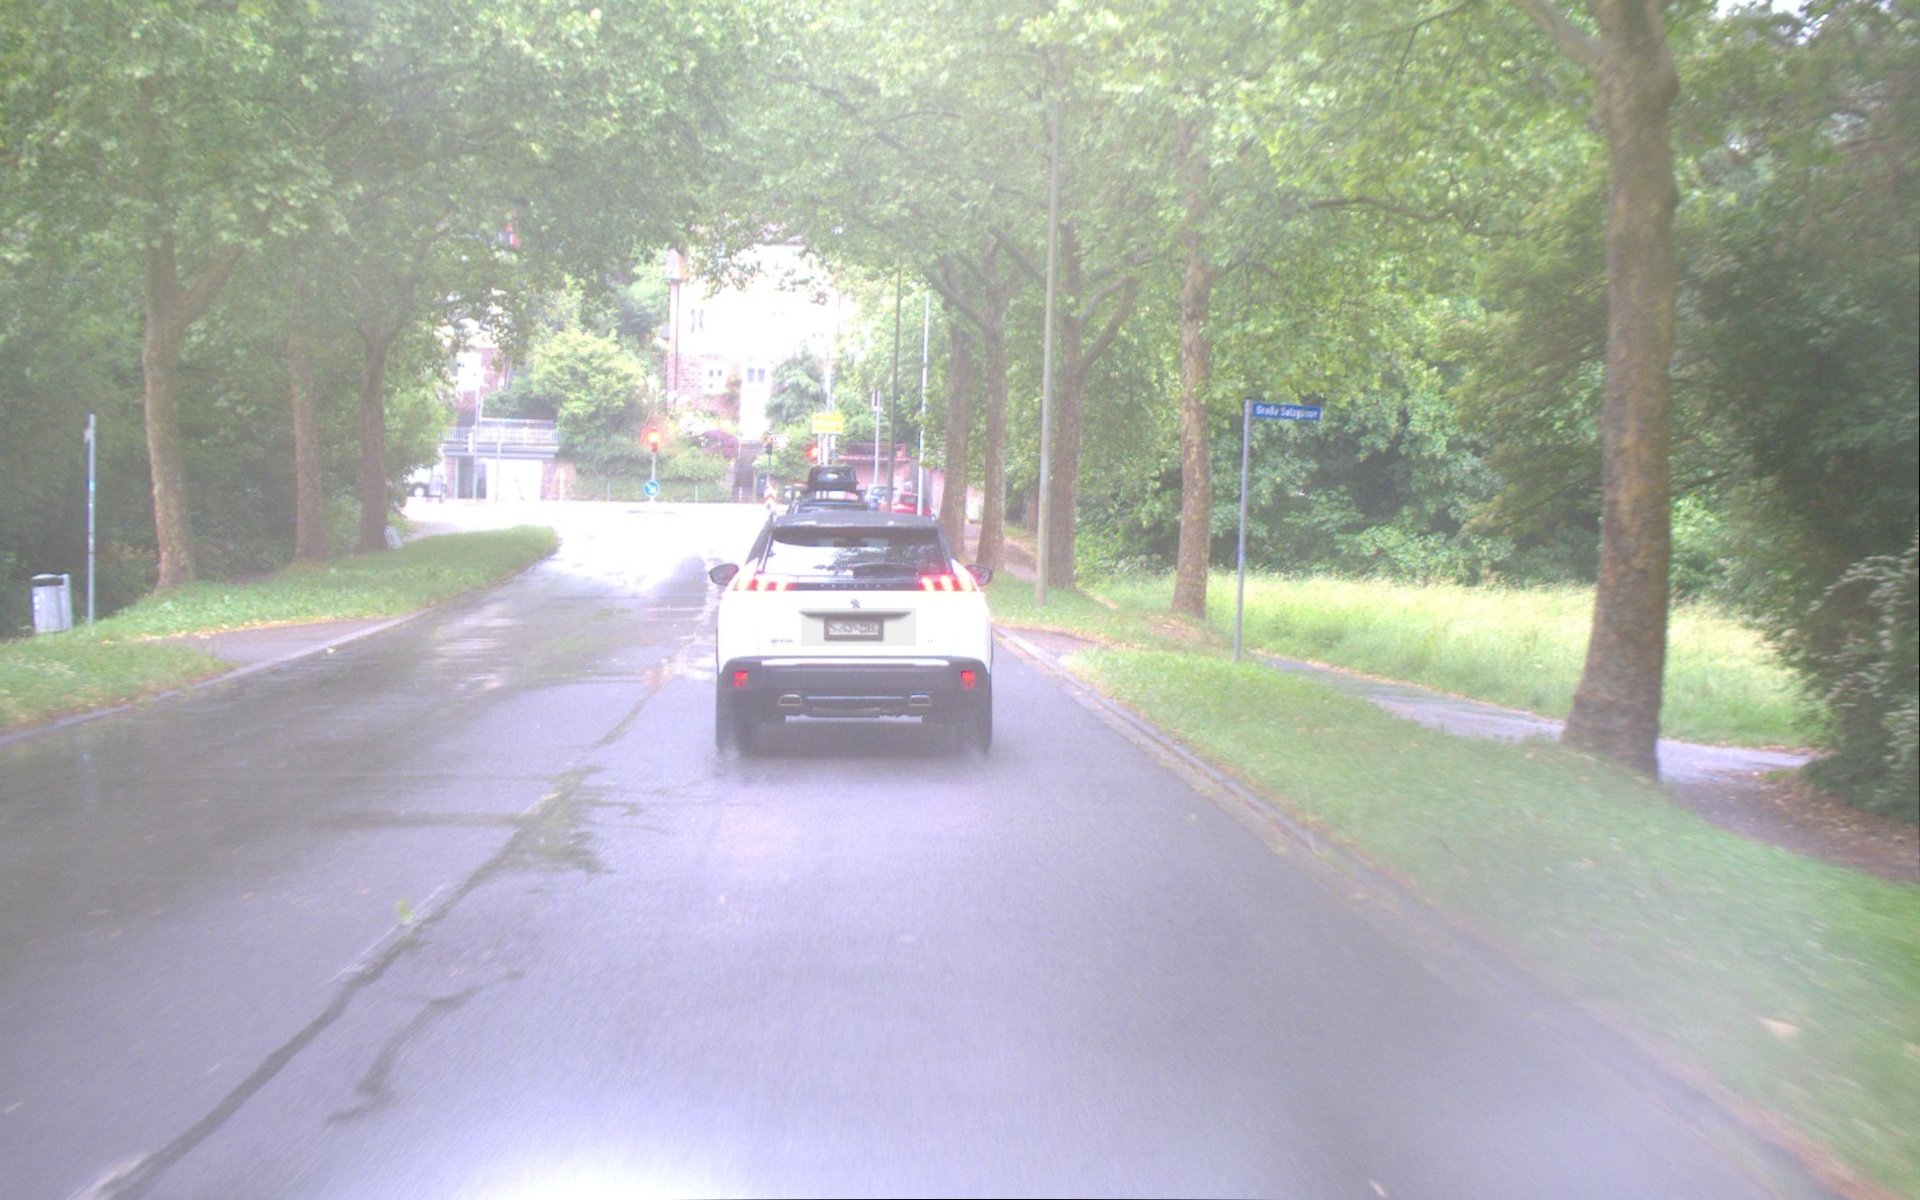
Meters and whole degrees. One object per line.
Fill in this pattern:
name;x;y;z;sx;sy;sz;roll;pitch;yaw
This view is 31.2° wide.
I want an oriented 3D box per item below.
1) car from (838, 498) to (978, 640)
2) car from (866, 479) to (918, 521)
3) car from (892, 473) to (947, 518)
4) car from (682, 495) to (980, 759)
car;-0.620;-0.390;41.141;1.570;1.587;3.218;2;1;-1
car;-2.704;-3.990;136.959;1.827;1.590;3.654;2;1;2
car;-1.475;-3.854;127.207;1.827;1.590;3.654;2;1;2
car;-0.857;0.110;23.085;1.793;1.573;3.845;1;2;-2
